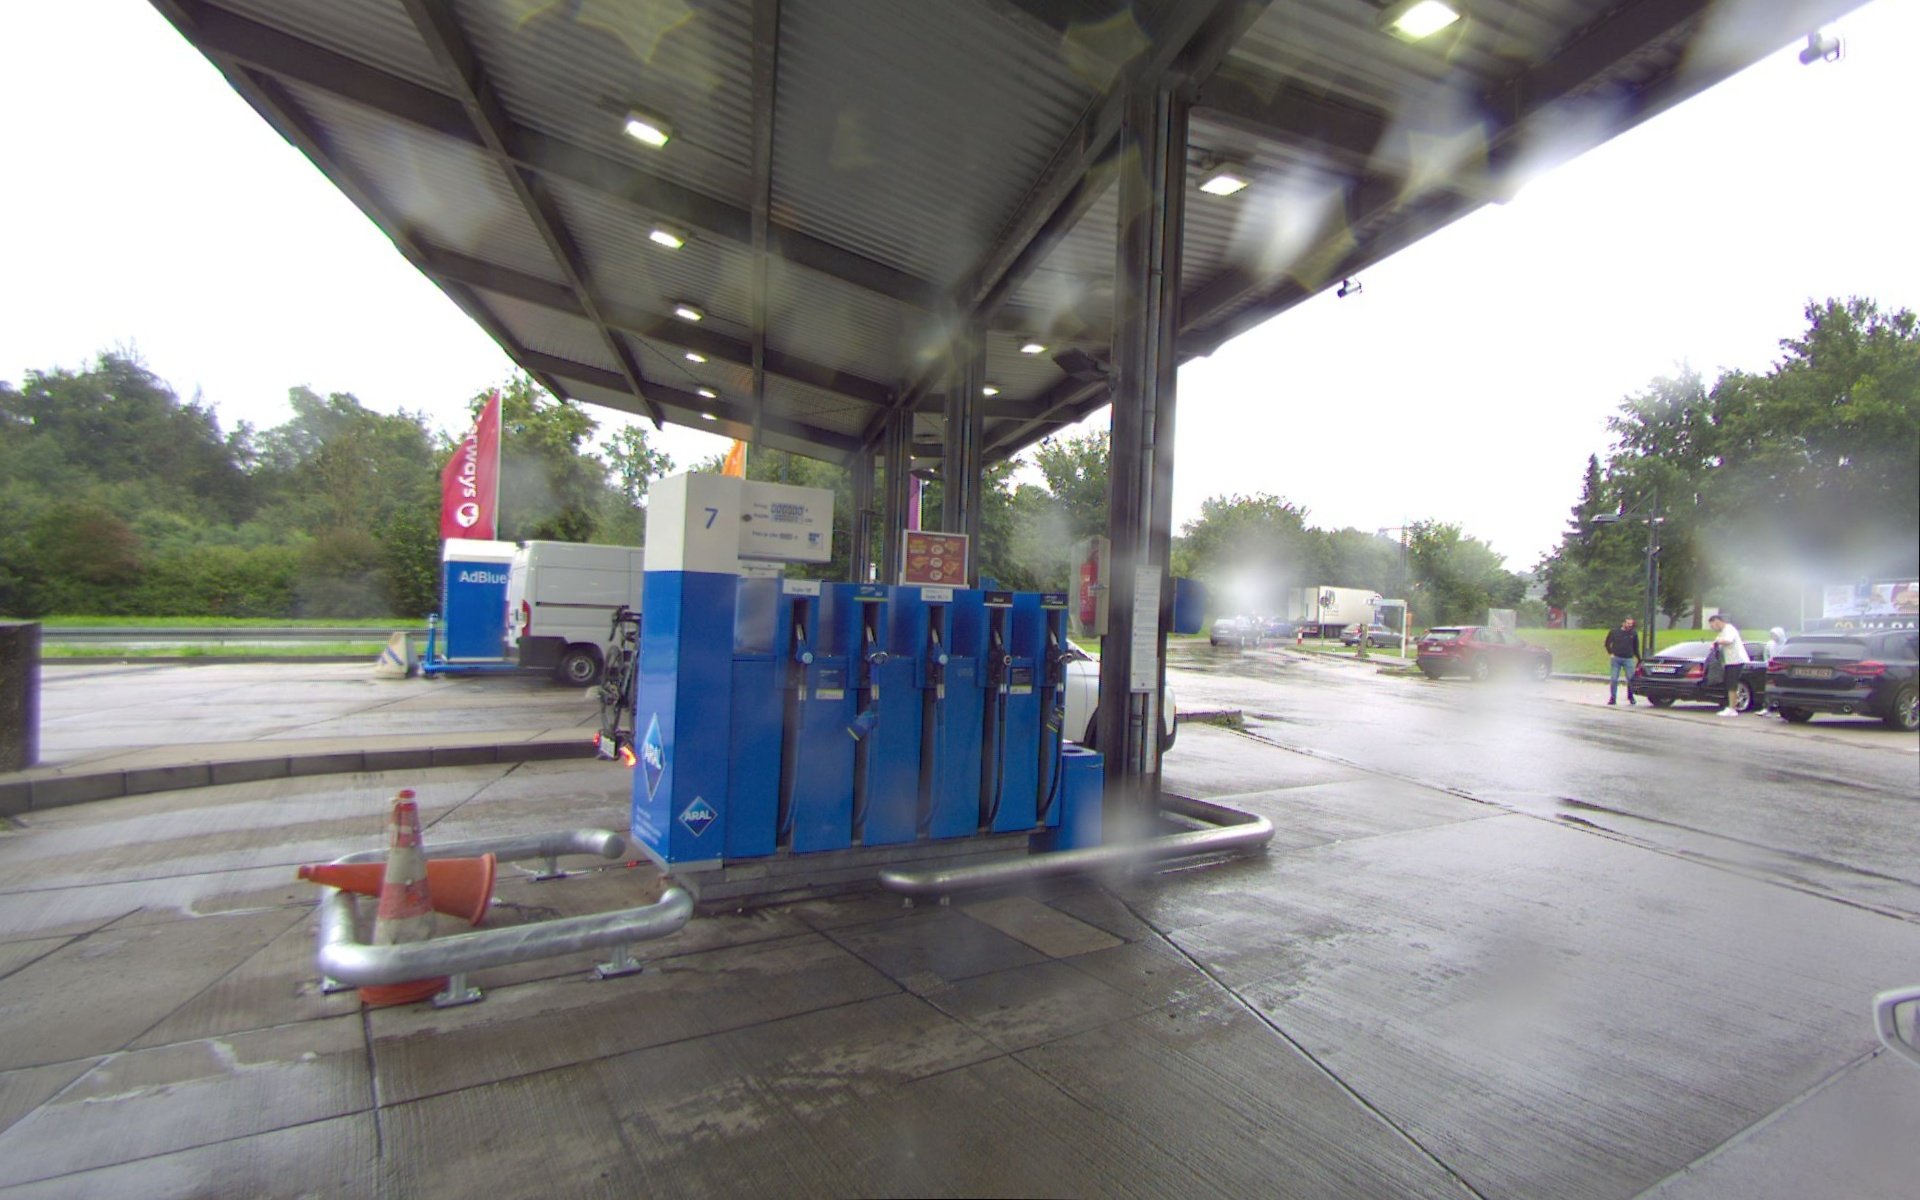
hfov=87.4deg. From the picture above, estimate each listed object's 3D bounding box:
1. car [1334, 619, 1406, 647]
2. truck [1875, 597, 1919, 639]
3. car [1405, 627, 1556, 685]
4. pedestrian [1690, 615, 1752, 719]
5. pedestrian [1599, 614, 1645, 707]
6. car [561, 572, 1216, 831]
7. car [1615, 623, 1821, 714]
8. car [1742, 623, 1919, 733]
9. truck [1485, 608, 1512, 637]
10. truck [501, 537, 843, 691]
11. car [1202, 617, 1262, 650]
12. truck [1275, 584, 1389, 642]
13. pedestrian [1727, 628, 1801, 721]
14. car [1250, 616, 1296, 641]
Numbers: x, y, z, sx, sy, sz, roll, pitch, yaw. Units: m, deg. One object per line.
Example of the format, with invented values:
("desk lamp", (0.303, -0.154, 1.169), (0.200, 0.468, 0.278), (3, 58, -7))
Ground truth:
("car", (25.951, 2.078, 63.593), (3.935, 1.650, 1.771), (2, -1, -16))
("truck", (68.845, 1.330, 71.691), (5.285, 2.959, 2.191), (2, 0, -5))
("car", (16.070, 1.675, 30.989), (4.283, 1.666, 1.933), (1, -2, -25))
("pedestrian", (14.576, 1.256, 19.238), (0.945, 1.912, 0.696), (2, 0, -37))
("pedestrian", (14.129, 1.278, 21.442), (0.693, 1.912, 0.889), (2, 0, 39))
("car", (-0.431, 0.704, 8.445), (5.210, 1.629, 1.852), (2, 0, -30))
("car", (15.935, 1.361, 21.078), (4.293, 1.734, 2.007), (1, -2, -31))
("car", (16.166, 1.274, 17.455), (4.274, 1.734, 2.016), (1, -1, -18))
("truck", (60.441, 2.540, 112.627), (2.440, 3.126, 7.344), (2, 0, 29))
("truck", (-5.344, 0.298, 18.926), (5.793, 2.527, 2.221), (2, 0, -30))
("car", (15.304, 1.887, 56.385), (1.967, 1.700, 3.987), (1, -1, 35))
("truck", (31.868, 1.198, 85.140), (3.498, 4.397, 16.922), (2, 0, 40))
("pedestrian", (15.015, 1.376, 18.762), (0.941, 1.653, 0.699), (2, 0, -25))
("car", (22.894, 2.073, 73.424), (1.787, 1.704, 3.934), (2, 0, 40))
